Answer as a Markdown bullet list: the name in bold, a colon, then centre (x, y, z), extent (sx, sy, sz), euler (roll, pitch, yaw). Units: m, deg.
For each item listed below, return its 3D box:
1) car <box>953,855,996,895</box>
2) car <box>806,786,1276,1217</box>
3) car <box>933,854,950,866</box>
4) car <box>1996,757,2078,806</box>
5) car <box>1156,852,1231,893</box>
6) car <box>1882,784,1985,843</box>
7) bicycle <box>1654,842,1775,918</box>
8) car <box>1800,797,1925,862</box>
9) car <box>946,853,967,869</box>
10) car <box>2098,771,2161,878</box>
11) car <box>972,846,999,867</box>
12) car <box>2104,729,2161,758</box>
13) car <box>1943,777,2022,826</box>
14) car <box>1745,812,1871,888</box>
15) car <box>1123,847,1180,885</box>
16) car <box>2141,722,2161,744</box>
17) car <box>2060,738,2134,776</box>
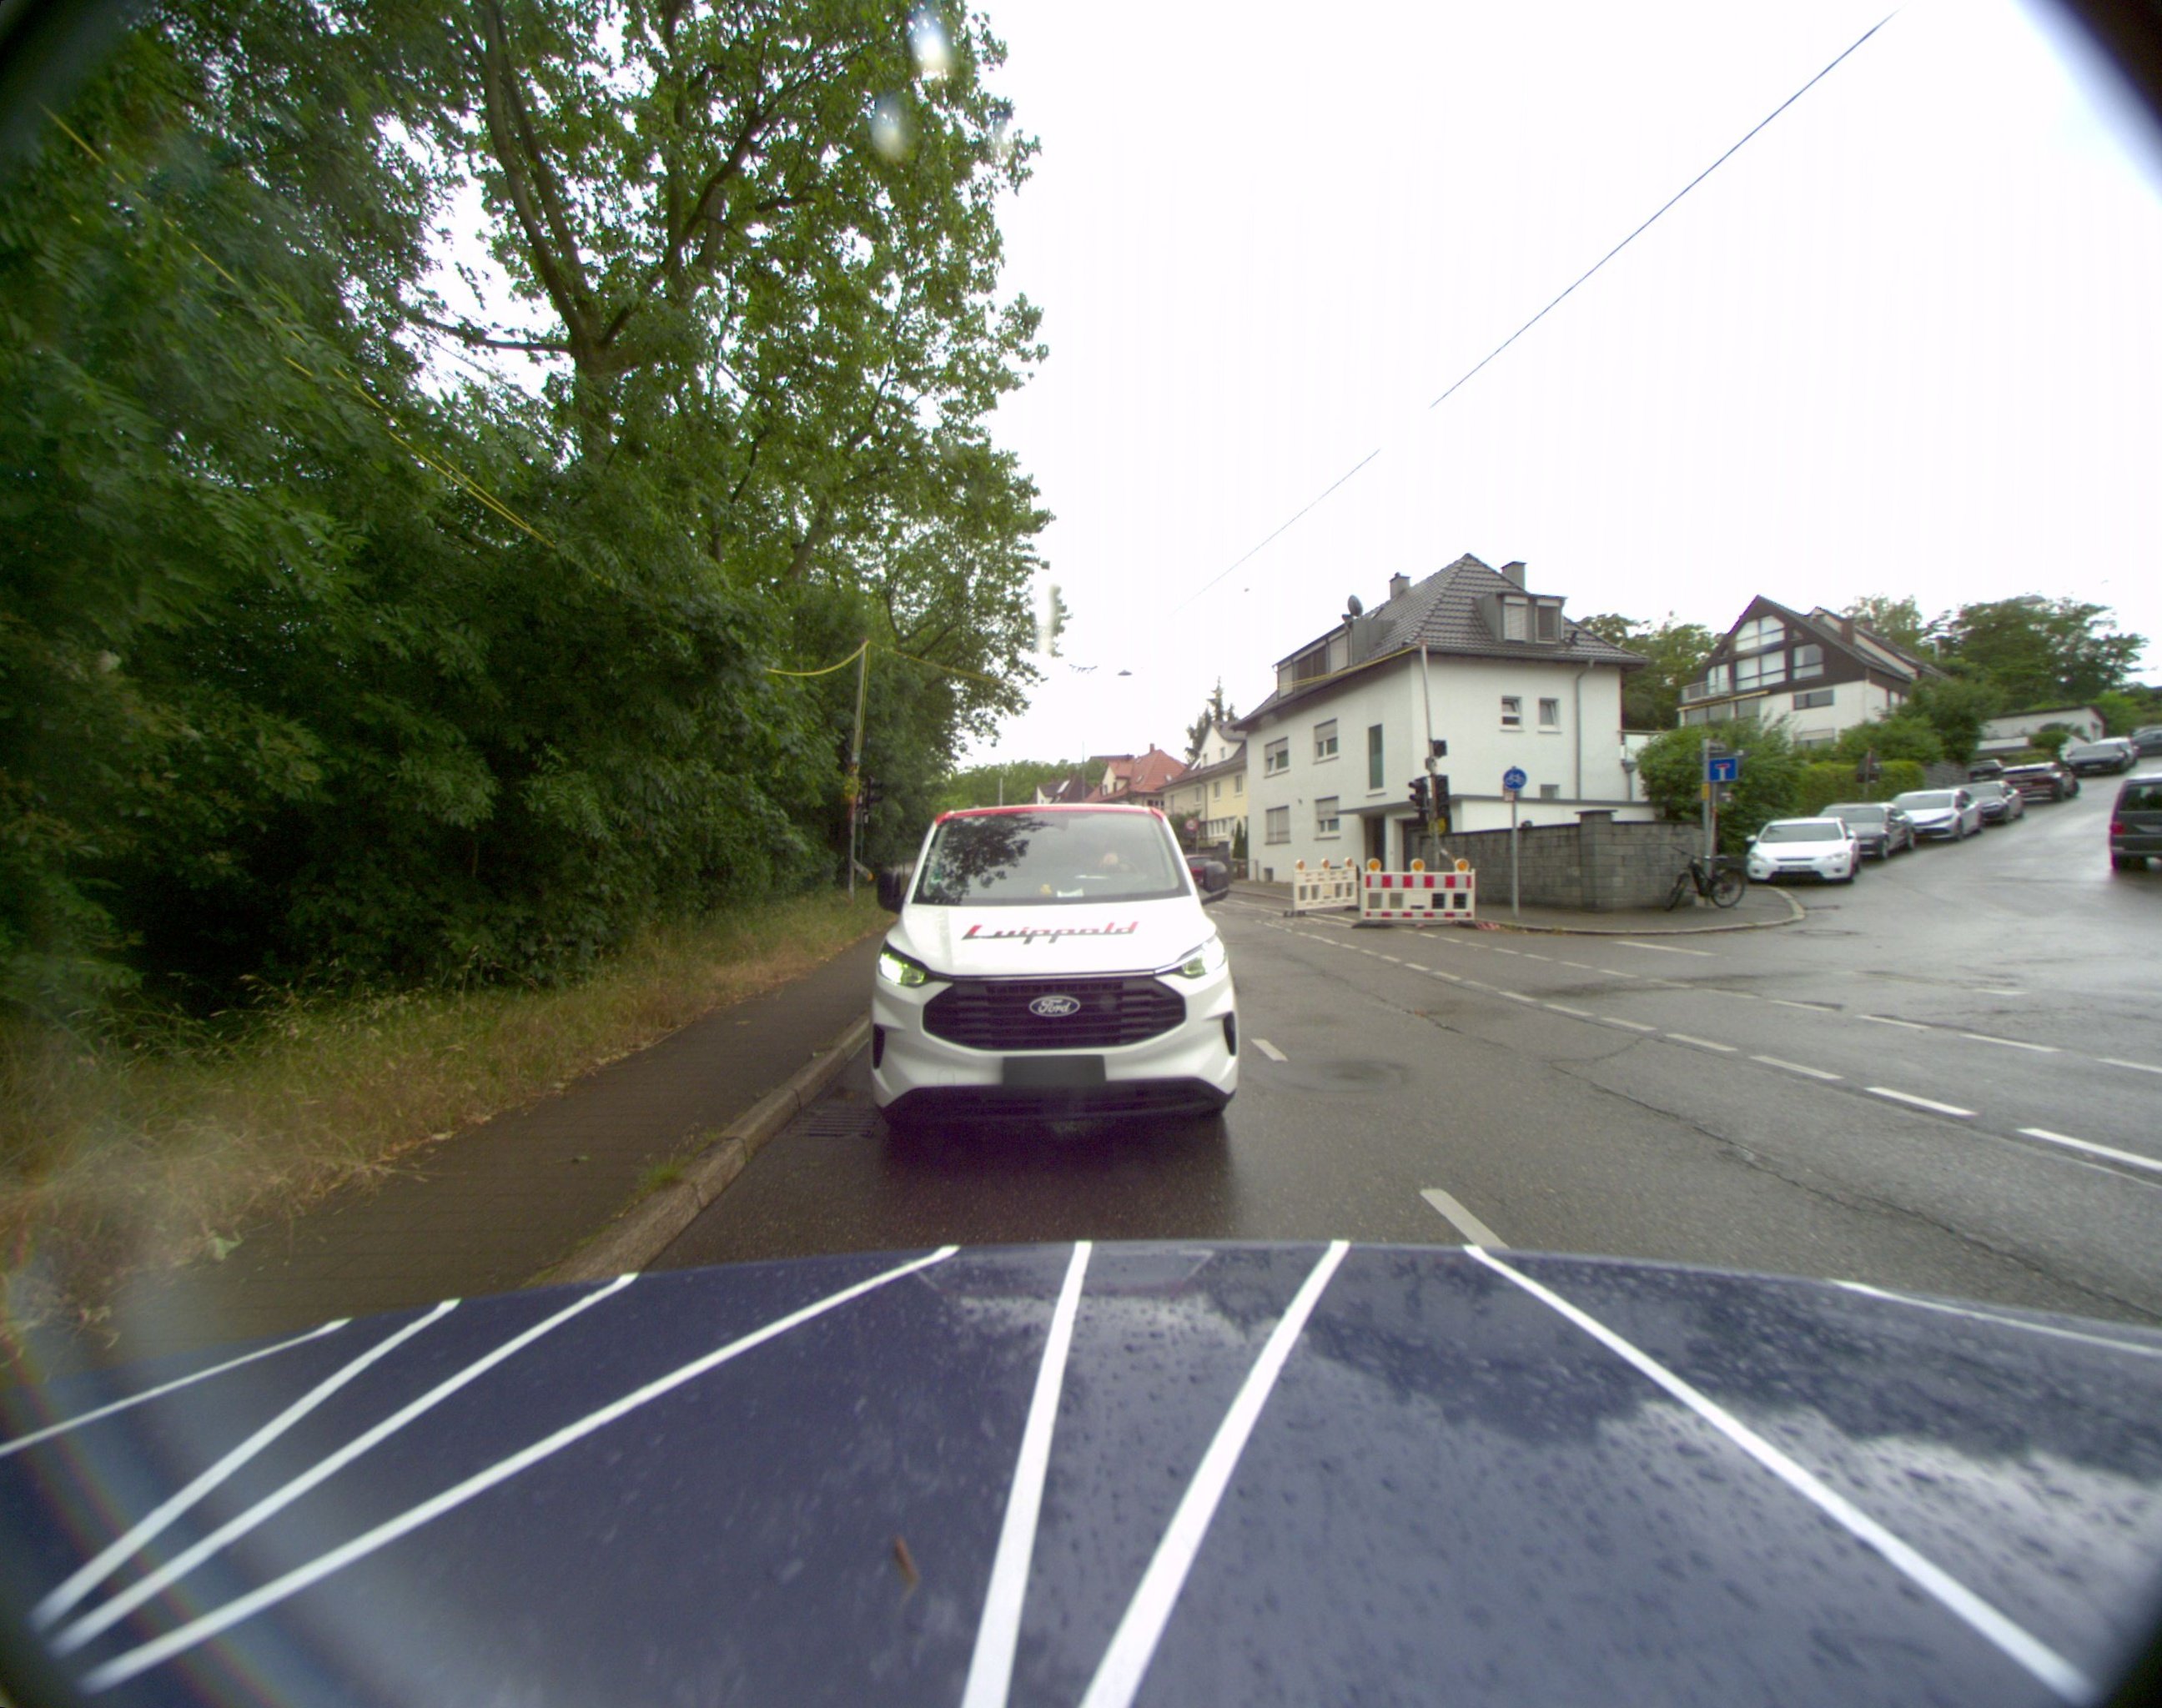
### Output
- **car**: centre (-4.678, 0.911, 33.461), extent (1.670, 1.579, 4.004), euler (-3, -1, -8)
- **car**: centre (-0.143, 0.637, 6.032), extent (2.045, 1.883, 5.208), euler (-2, 1, 1)
- **car**: centre (-18.940, 0.792, 103.146), extent (1.767, 1.519, 3.585), euler (-3, 1, -17)
- **car**: centre (40.413, -3.057, 32.094), extent (3.988, 1.547, 1.333), euler (-9, 4, -26)
- **car**: centre (4.362, 0.729, 30.041), extent (1.898, 1.485, 3.795), euler (-1, -2, -8)
- **car**: centre (27.215, -1.297, 24.240), extent (3.859, 1.458, 1.579), euler (-8, 4, -32)
- **bicycle**: centre (11.715, 0.462, 14.069), extent (1.732, 1.304, 0.707), euler (-2, 1, -7)
- **car**: centre (22.502, -0.716, 21.849), extent (3.859, 1.458, 1.700), euler (-7, 2, -32)
- **car**: centre (-15.454, 0.793, 94.164), extent (2.001, 1.850, 4.354), euler (-3, 1, -17)
- **car**: centre (23.594, -0.719, 16.190), extent (3.801, 1.926, 1.910), euler (-9, 4, -31)
- **car**: centre (-9.550, 0.263, 75.995), extent (2.001, 2.002, 3.994), euler (-3, 1, -17)
- **car**: centre (68.114, -7.115, 48.255), extent (1.582, 1.492, 3.607), euler (-10, 4, -34)
- **car**: centre (32.130, -1.872, 27.057), extent (3.508, 1.383, 1.333), euler (-8, 4, -32)
- **car**: centre (17.618, -0.118, 18.360), extent (3.566, 1.458, 1.746), euler (-7, 2, -40)
- **car**: centre (3.185, 0.590, 35.112), extent (1.670, 1.579, 4.004), euler (-3, -1, -8)
- **car**: centre (81.227, -9.118, 55.917), extent (1.624, 1.492, 3.513), euler (-9, 3, -24)
- **car**: centre (54.762, -5.229, 40.948), extent (3.834, 1.492, 1.733), euler (-9, 4, -26)
